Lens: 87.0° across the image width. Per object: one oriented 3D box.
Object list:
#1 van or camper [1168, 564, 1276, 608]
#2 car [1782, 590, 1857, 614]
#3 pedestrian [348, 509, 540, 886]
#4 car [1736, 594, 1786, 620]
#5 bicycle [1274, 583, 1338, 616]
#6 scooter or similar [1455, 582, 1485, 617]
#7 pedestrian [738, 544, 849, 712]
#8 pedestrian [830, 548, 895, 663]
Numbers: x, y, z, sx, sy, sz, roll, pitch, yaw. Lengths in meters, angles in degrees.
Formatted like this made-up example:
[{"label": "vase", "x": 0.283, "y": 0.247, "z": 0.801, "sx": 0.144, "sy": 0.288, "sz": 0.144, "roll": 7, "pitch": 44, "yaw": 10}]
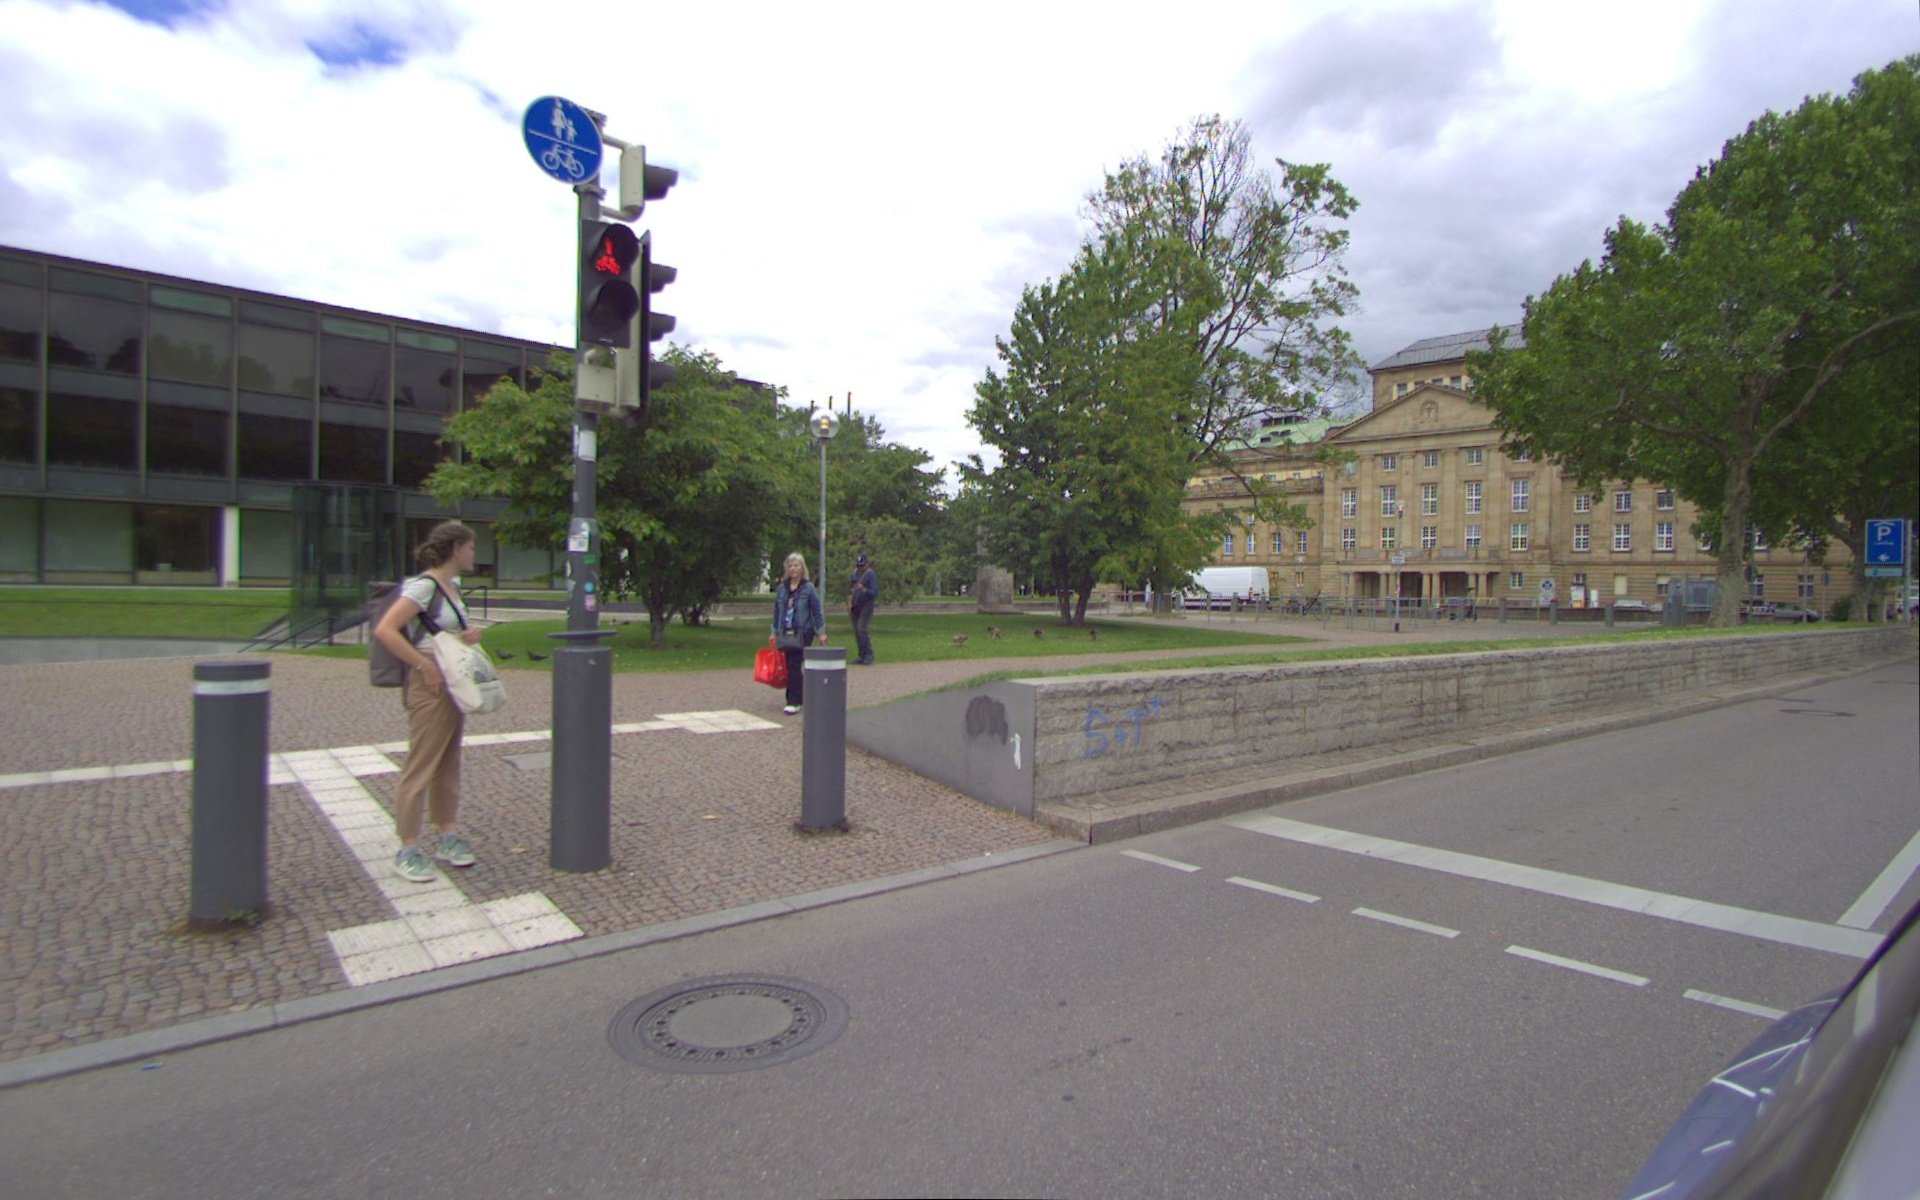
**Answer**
[{"label": "van or camper", "x": 14.907, "y": -0.784, "z": 57.885, "sx": 2.281, "sy": 2.348, "sz": 5.704, "roll": -2, "pitch": 1, "yaw": -42}, {"label": "car", "x": 61.083, "y": 0.175, "z": 71.954, "sx": 3.987, "sy": 1.616, "sz": 1.707, "roll": -2, "pitch": -1, "yaw": 44}, {"label": "pedestrian", "x": -2.554, "y": 0.433, "z": 4.998, "sx": 0.672, "sy": 1.677, "sz": 0.698, "roll": 0, "pitch": -1, "yaw": -43}, {"label": "car", "x": 51.154, "y": 0.446, "z": 64.602, "sx": 4.143, "sy": 1.537, "sz": 1.767, "roll": 2, "pitch": 0, "yaw": -41}, {"label": "bicycle", "x": 12.853, "y": -0.020, "z": 37.653, "sx": 0.674, "sy": 1.156, "sz": 2.195, "roll": 1, "pitch": 1, "yaw": -41}, {"label": "scooter or similar", "x": 19.290, "y": -0.024, "z": 38.285, "sx": 0.716, "sy": 1.261, "sz": 0.717, "roll": 0, "pitch": 4, "yaw": -44}, {"label": "pedestrian", "x": -1.662, "y": 0.256, "z": 10.047, "sx": 0.889, "sy": 1.581, "sz": 0.686, "roll": 1, "pitch": 3, "yaw": -25}, {"label": "pedestrian", "x": -1.438, "y": 0.070, "z": 14.934, "sx": 0.614, "sy": 1.646, "sz": 0.805, "roll": 1, "pitch": 1, "yaw": -34}]
